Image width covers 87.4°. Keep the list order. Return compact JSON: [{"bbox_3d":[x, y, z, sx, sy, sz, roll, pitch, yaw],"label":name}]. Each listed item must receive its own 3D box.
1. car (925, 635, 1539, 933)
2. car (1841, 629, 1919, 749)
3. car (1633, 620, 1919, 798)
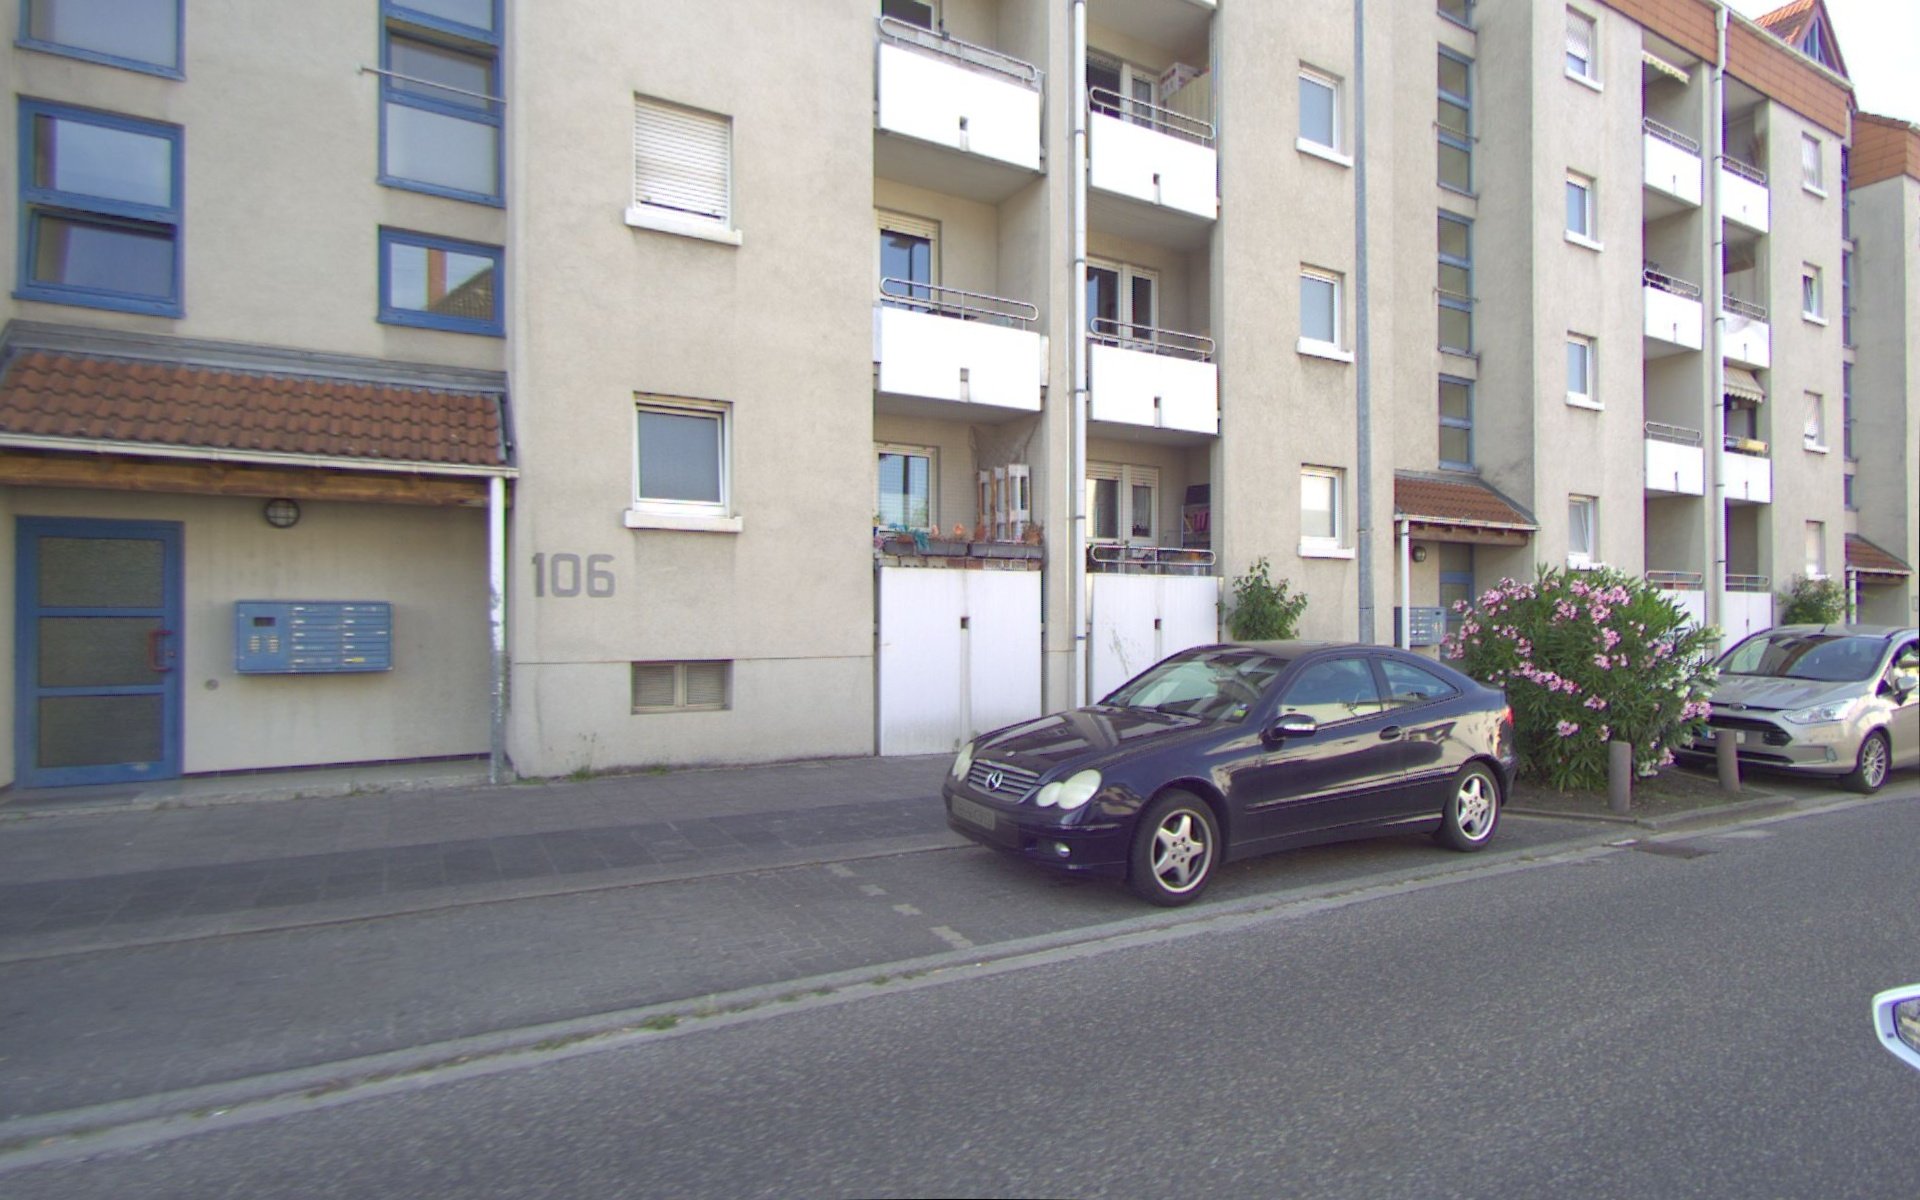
[{"bbox_3d":[1.930,0.979,6.776,4.036,1.424,1.678,1,-1,-31],"label":"car"},{"bbox_3d":[14.354,1.198,14.092,4.320,1.541,1.798,1,-1,-31],"label":"car"},{"bbox_3d":[9.209,1.025,10.741,3.915,1.576,1.720,1,-1,-28],"label":"car"}]
